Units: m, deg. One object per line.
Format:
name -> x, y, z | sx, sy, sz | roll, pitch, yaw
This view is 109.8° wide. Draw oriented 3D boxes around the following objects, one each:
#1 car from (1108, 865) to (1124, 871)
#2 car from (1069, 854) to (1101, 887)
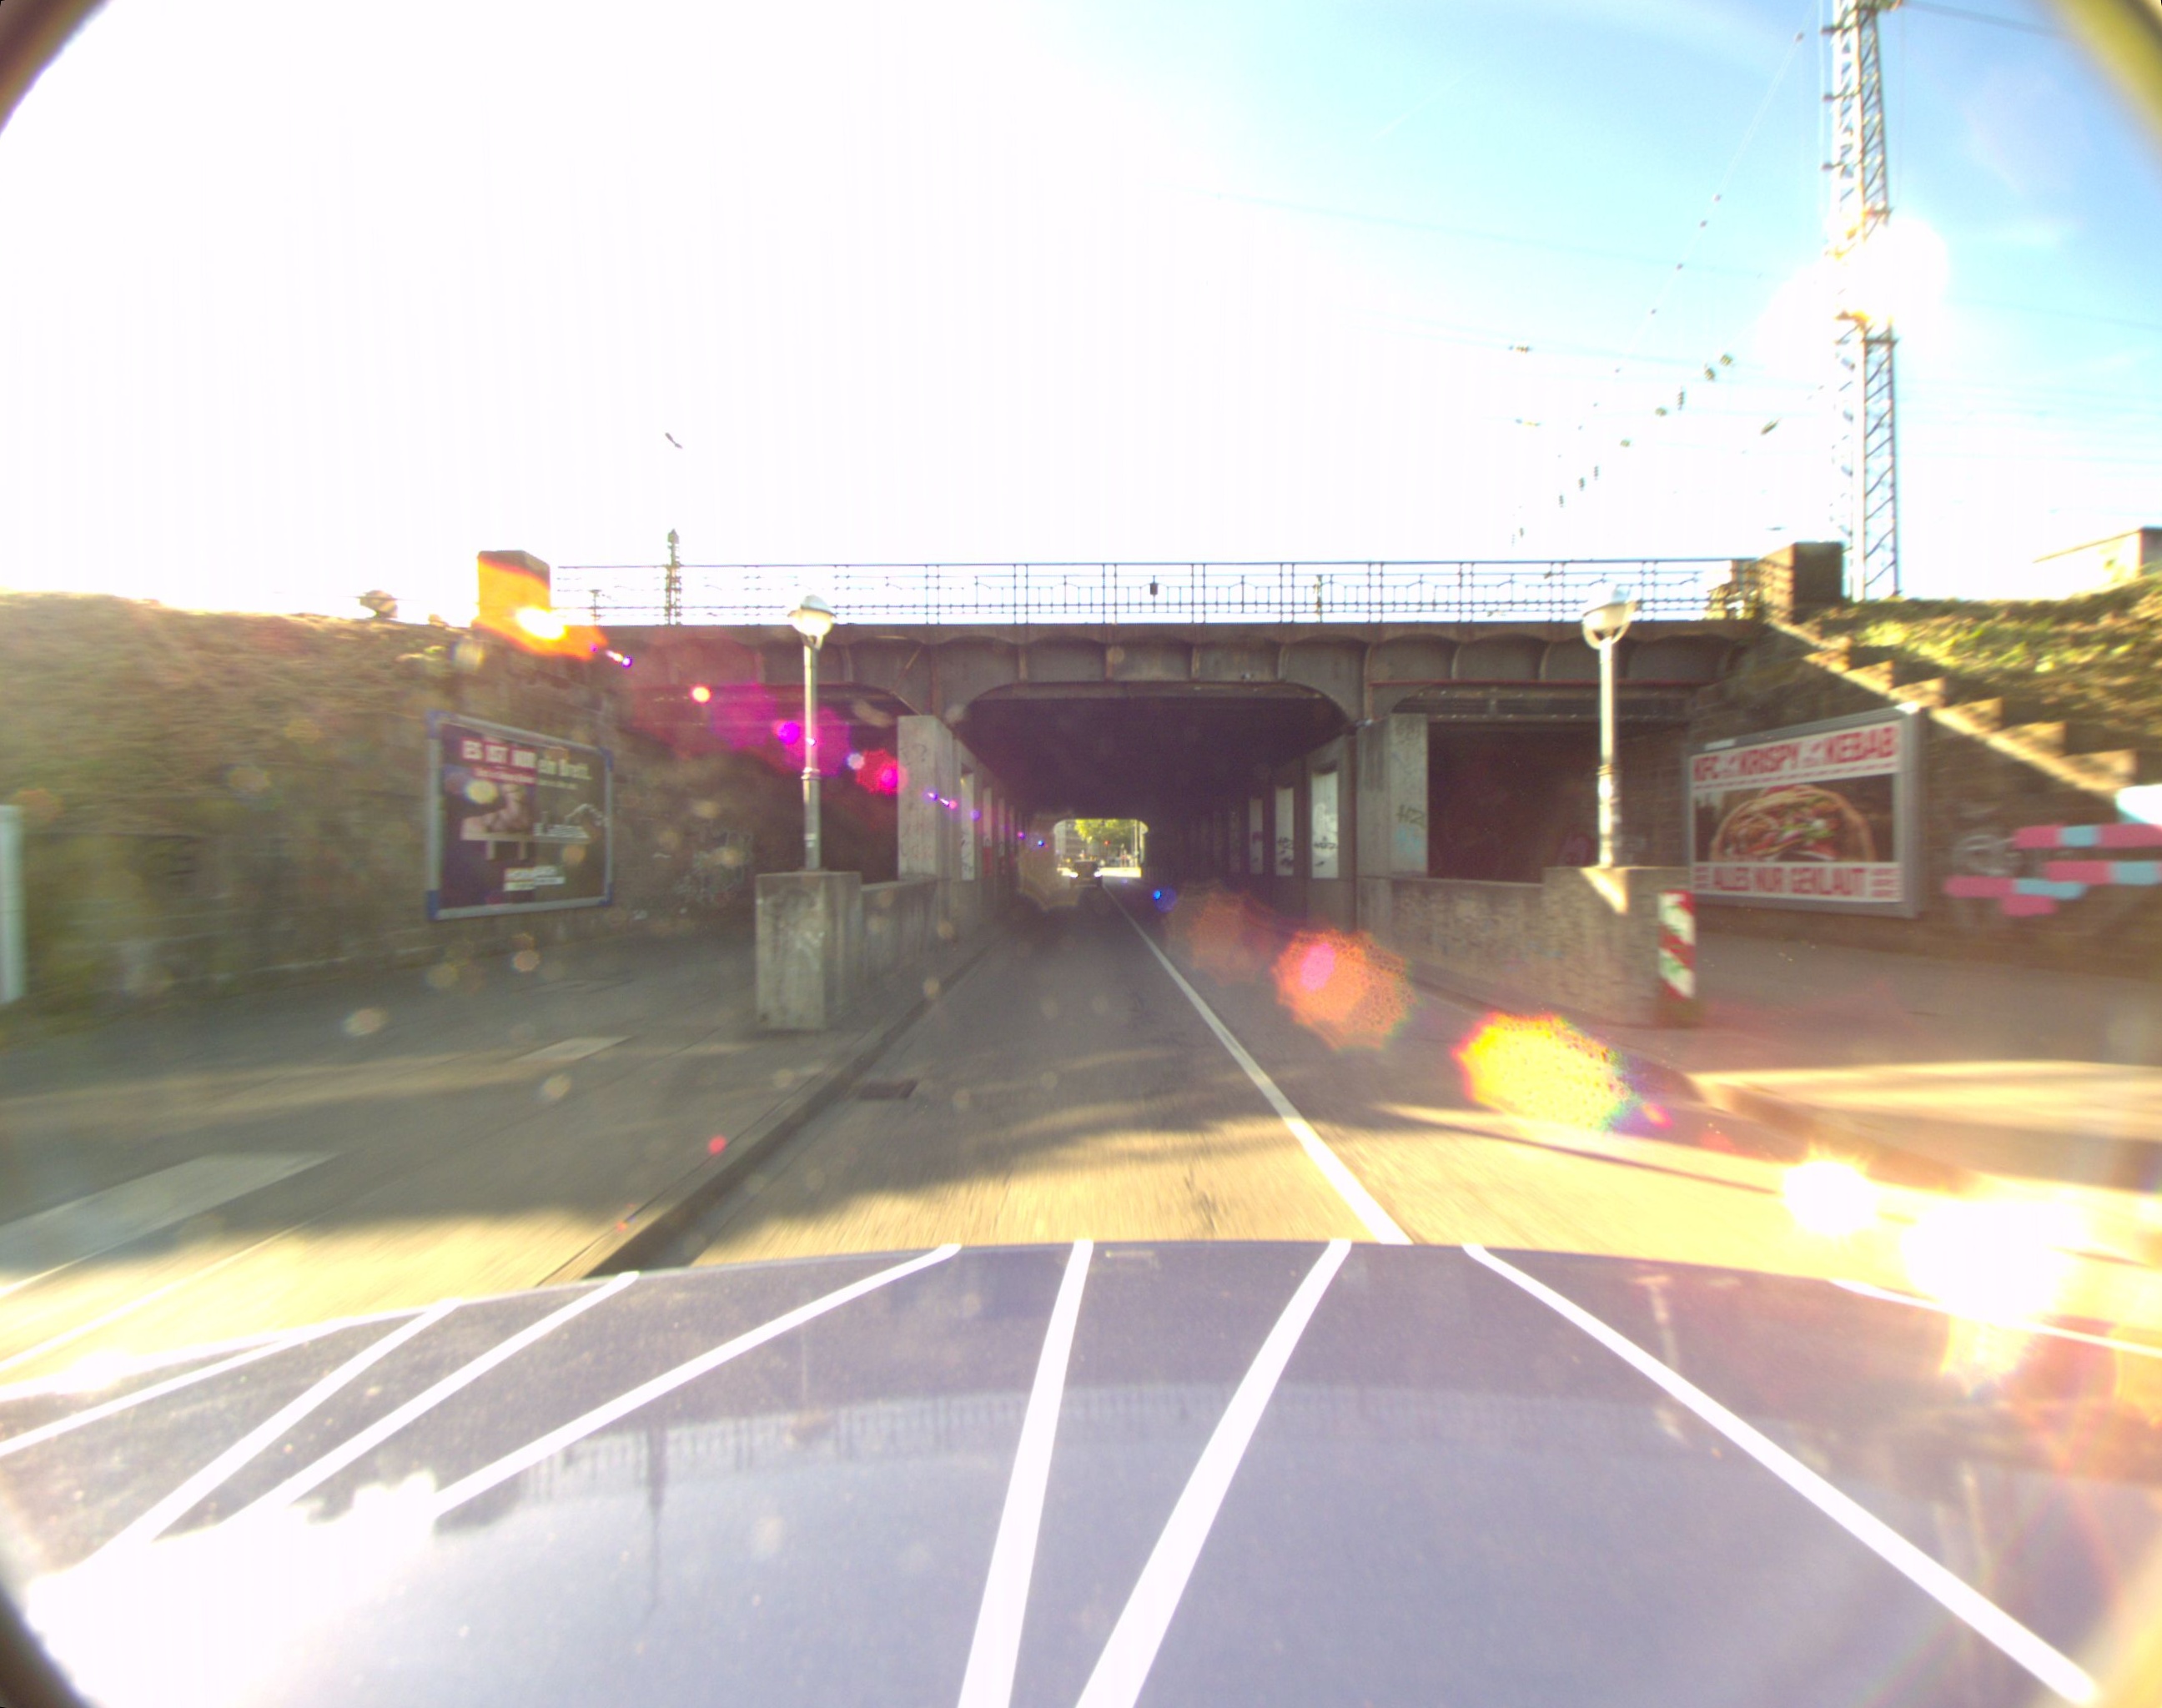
car -> 9.934, 3.967, 214.630 | 4.140, 1.631, 1.777 | -2, 1, 21
car -> 0.274, 0.997, 47.739 | 1.941, 1.922, 4.524 | 0, 0, 1
